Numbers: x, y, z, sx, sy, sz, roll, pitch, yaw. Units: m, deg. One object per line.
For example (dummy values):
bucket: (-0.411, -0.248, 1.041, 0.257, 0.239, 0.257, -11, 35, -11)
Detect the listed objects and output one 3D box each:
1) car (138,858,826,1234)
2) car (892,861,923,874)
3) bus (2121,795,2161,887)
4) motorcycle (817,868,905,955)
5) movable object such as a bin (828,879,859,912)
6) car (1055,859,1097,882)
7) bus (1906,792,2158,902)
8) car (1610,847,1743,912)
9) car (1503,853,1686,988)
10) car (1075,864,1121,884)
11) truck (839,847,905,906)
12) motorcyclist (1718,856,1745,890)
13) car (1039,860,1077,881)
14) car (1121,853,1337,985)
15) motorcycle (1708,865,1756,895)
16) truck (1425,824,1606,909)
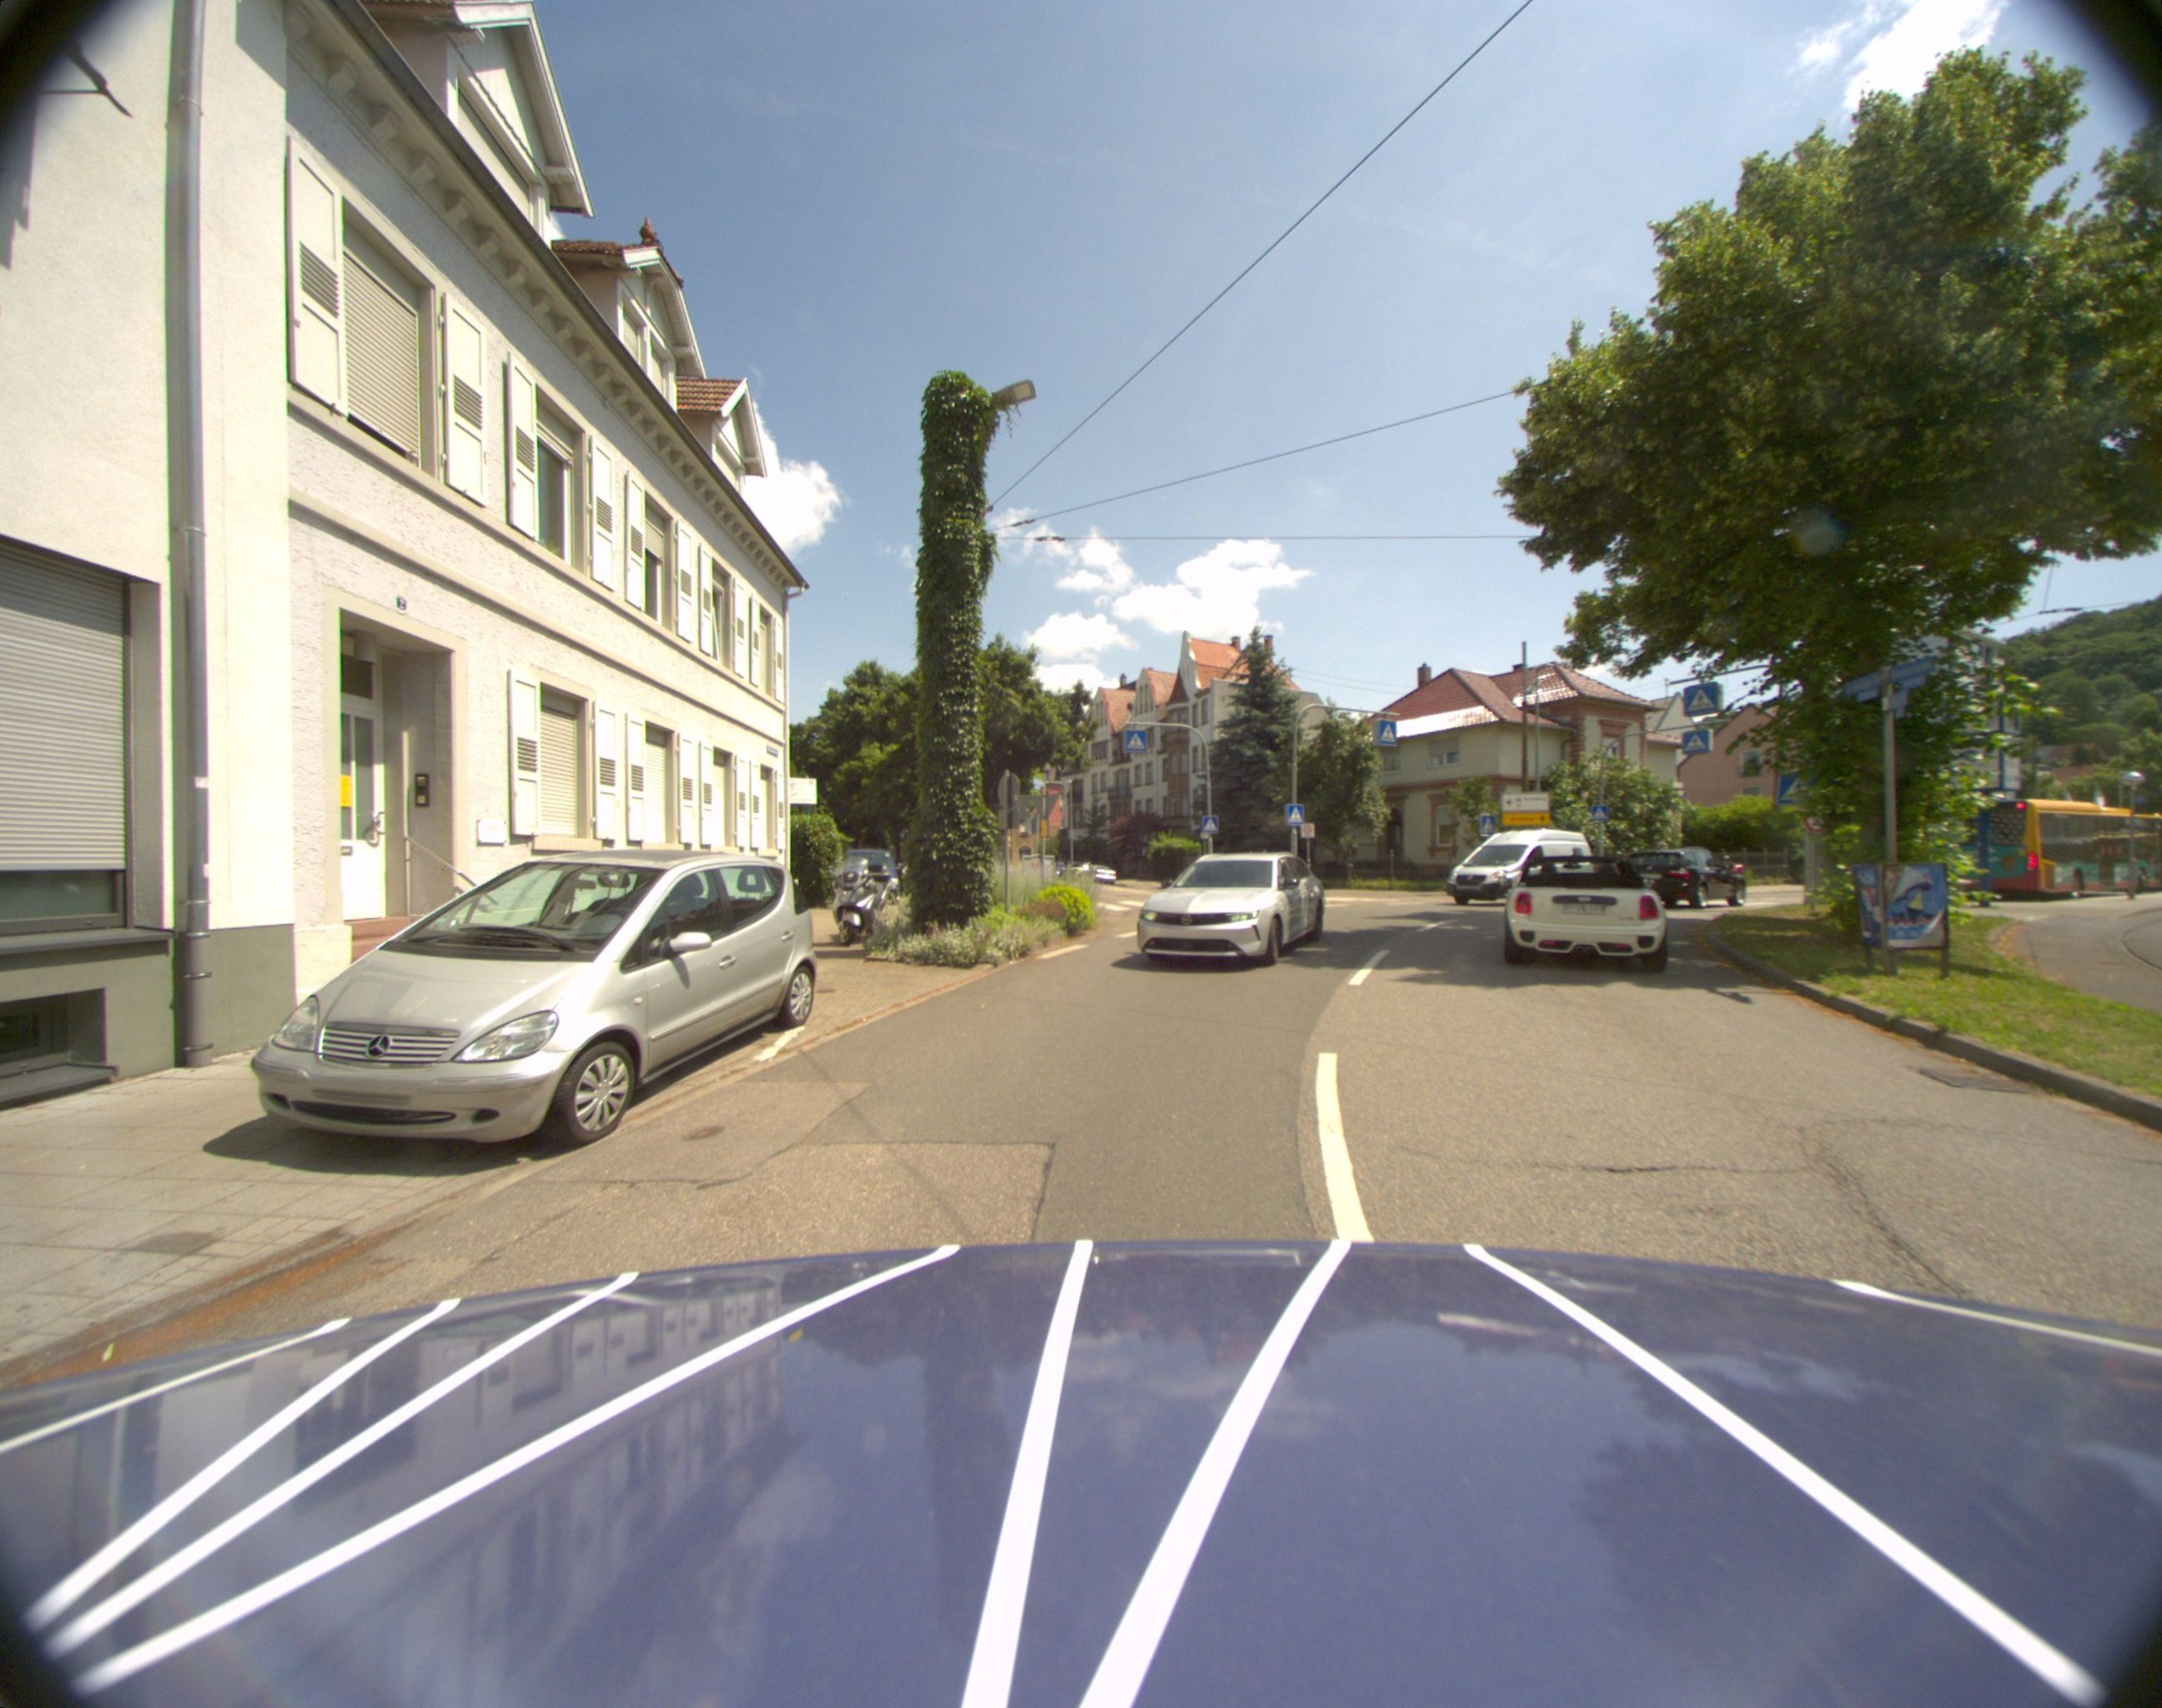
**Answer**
car: (-3.438, 0.890, 5.412, 1.730, 1.601, 3.801, 2, 1, 4)
car: (-21.307, 1.643, 93.130, 2.004, 1.608, 4.174, -1, 0, -38)
bus: (47.702, -0.516, 32.036, 12.226, 3.586, 2.691, 0, 0, -27)
motorcycle: (-3.794, 0.936, 13.339, 0.802, 1.344, 2.338, -1, 0, 1)
movable object such as a bin: (-7.074, 1.230, 22.626, 0.616, 0.955, 0.635, -1, 0, 13)
car: (-0.408, 1.214, 56.195, 1.777, 1.506, 3.994, 5, -2, -19)
bus: (32.771, -0.182, 26.058, 10.872, 3.277, 2.703, 0, -1, -24)
car: (16.529, 0.646, 21.019, 4.337, 1.622, 1.857, 0, 0, -38)
car: (6.860, 0.745, 10.519, 1.774, 1.455, 3.754, 0, 1, 29)
car: (1.086, 1.322, 51.365, 1.820, 1.318, 3.994, 0, -1, -19)
truck: (-7.596, 0.783, 27.274, 1.918, 1.915, 5.273, 1, -1, -19)
motorcyclist: (23.973, 0.682, 27.991, 0.555, 1.236, 0.540, -1, 1, -18)
car: (-1.887, 1.336, 61.126, 1.777, 1.506, 3.993, 5, -2, -21)
car: (2.380, 0.781, 11.220, 1.797, 1.458, 4.178, -1, 1, 31)
motorcycle: (24.018, 0.962, 28.036, 1.437, 1.051, 0.668, -1, 0, -17)
truck: (12.761, 0.364, 22.227, 5.416, 2.235, 2.017, 0, -1, -28)
